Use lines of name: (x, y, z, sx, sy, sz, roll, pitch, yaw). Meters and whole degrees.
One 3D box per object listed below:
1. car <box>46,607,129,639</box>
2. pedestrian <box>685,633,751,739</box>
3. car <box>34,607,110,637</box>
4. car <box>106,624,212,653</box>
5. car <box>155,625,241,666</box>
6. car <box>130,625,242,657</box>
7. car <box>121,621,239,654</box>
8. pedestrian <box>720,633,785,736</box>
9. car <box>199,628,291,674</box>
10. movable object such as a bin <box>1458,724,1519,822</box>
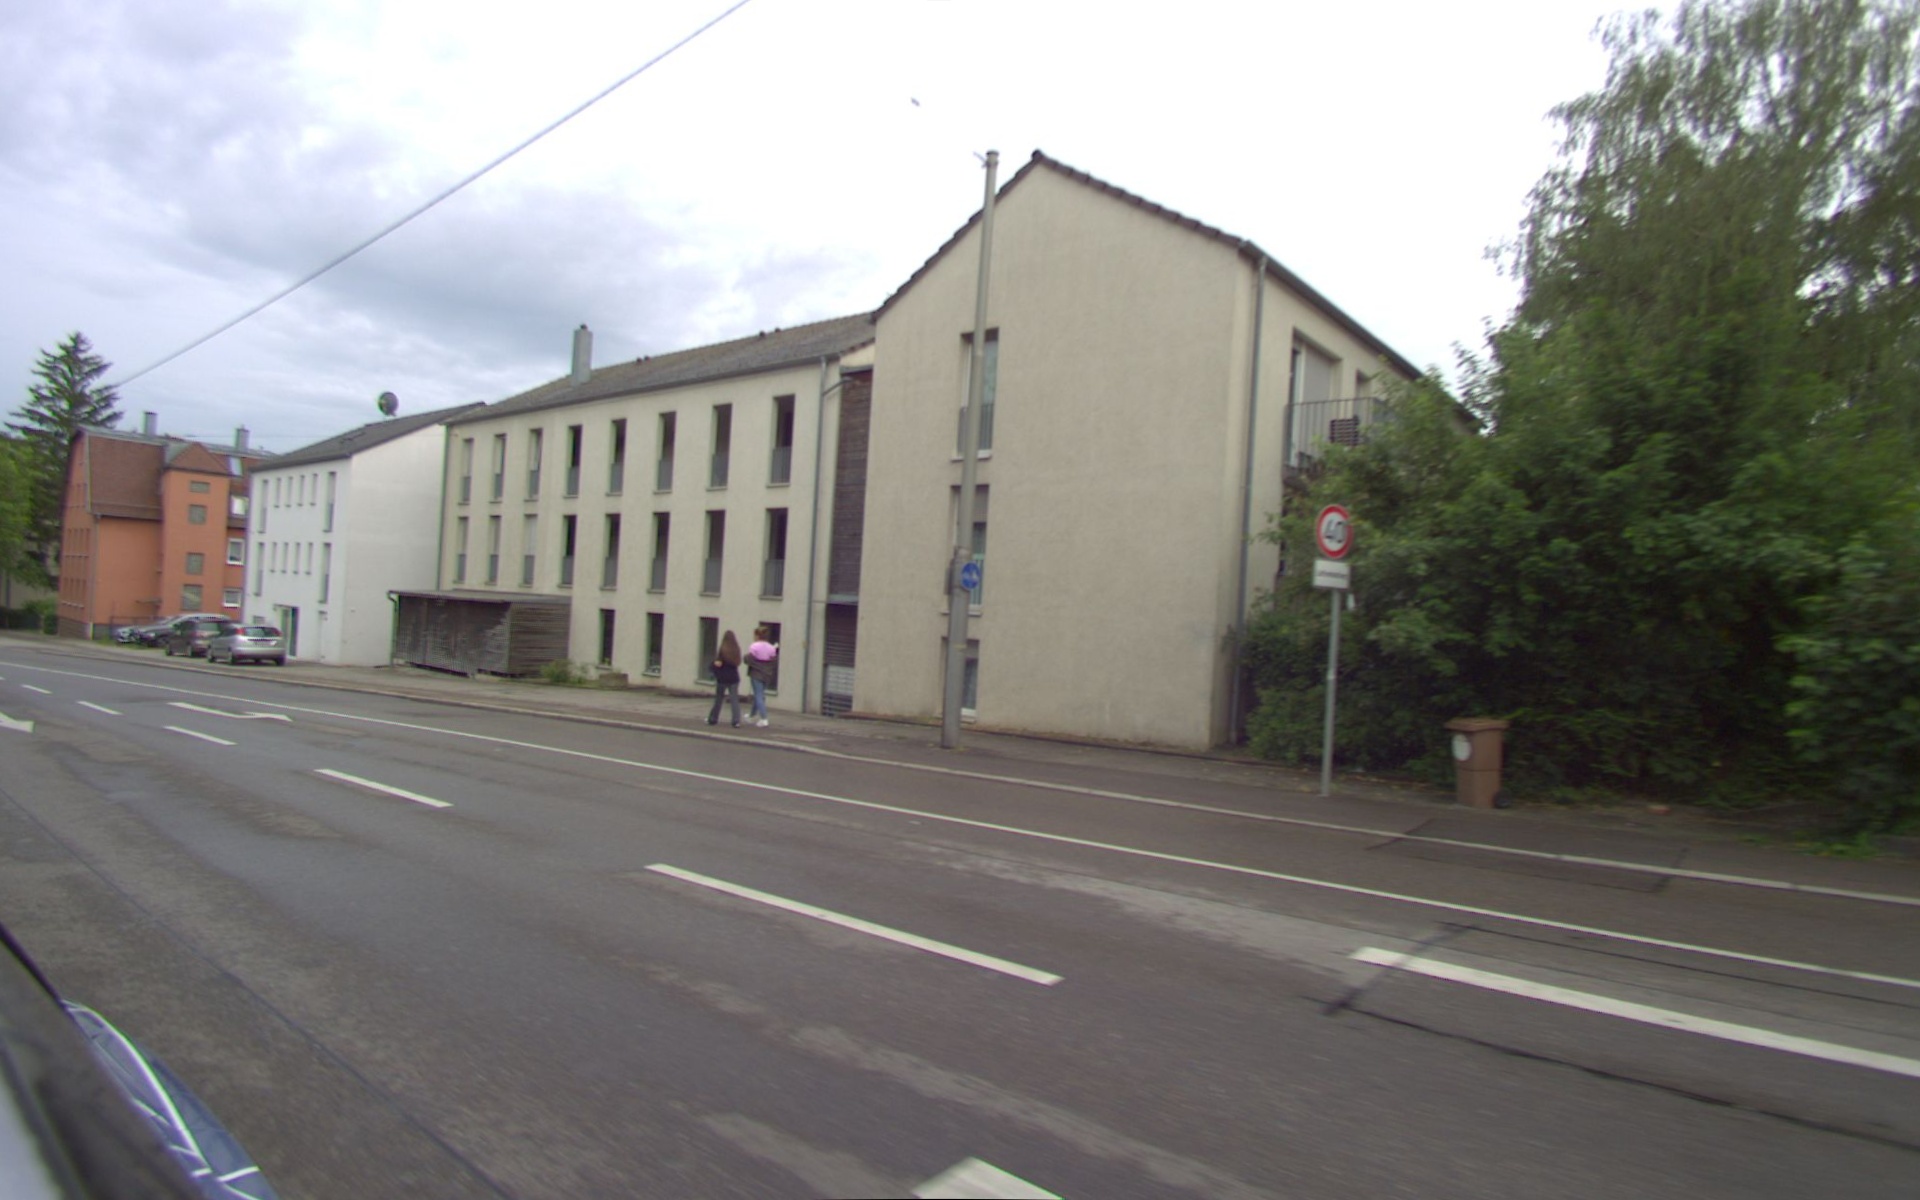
car: (-59.213, 1.574, 68.726, 1.998, 2.029, 3.948, 0, -2, 39)
pedestrian: (-4.078, 1.427, 17.073, 0.911, 1.719, 0.633, -1, -3, 41)
car: (-62.274, 1.554, 71.010, 3.939, 2.029, 2.002, 3, -2, -42)
car: (-42.126, 1.970, 53.270, 2.000, 1.444, 4.117, 0, -1, 42)
car: (-31.504, 1.854, 41.821, 4.076, 1.564, 1.729, 0, -1, 36)
car: (-38.081, 2.009, 49.870, 1.895, 1.475, 4.082, 0, -1, 41)
car: (-39.988, 1.882, 51.929, 2.152, 1.620, 4.483, 0, -1, 42)
pedestrian: (-3.597, 1.435, 17.524, 0.911, 1.719, 0.633, -1, -3, 41)
car: (-26.272, 1.846, 37.156, 4.175, 1.519, 1.727, 0, -3, 41)
movable object such as a bin: (5.572, 1.809, 10.671, 0.524, 0.932, 0.406, 0, -2, 34)
